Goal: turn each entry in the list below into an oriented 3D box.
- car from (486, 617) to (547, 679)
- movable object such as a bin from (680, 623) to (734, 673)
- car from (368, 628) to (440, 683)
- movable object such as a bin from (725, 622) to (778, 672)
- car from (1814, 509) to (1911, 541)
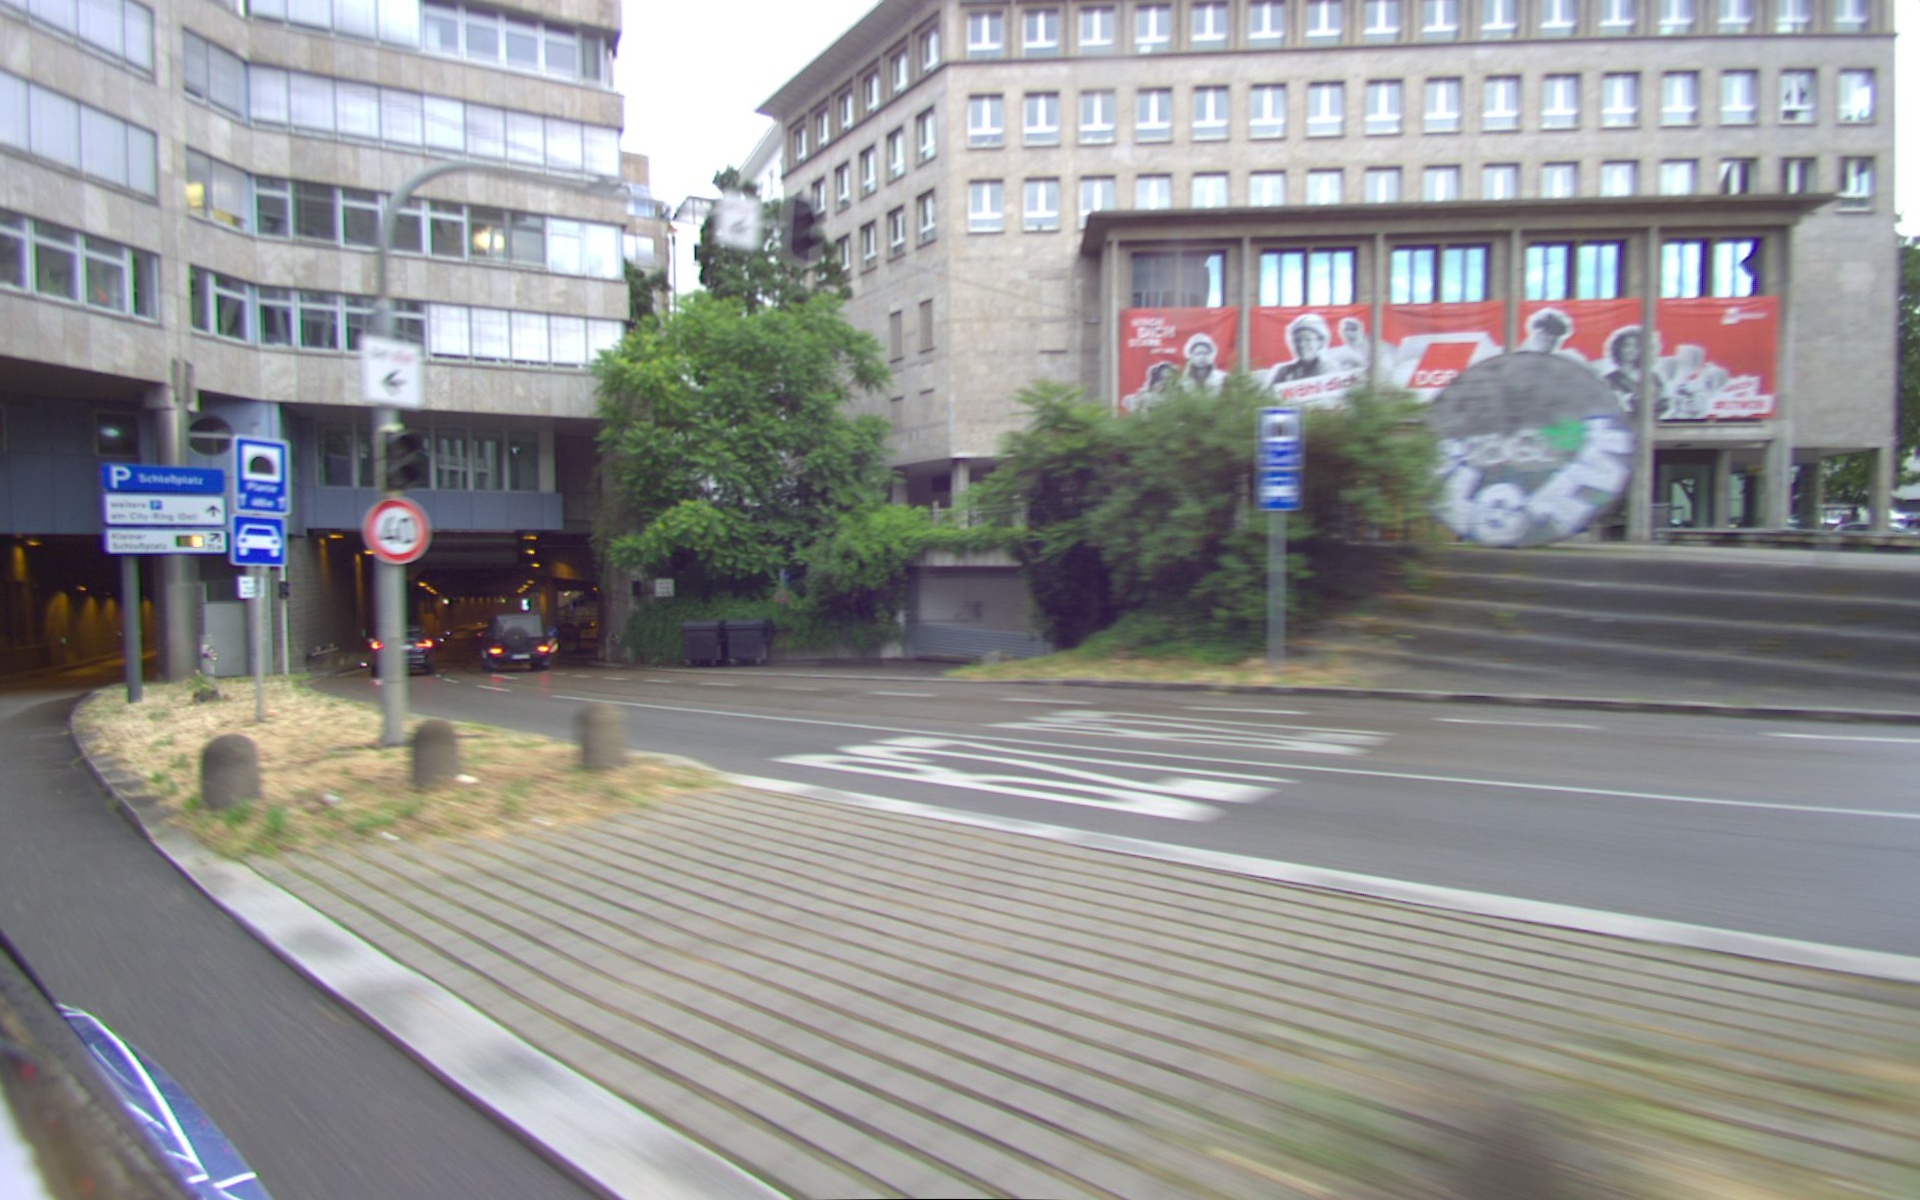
[{"bbox_3d":[-15.372,1.639,34.980,1.811,1.936,4.657,-1,-2,-25],"label":"car"},{"bbox_3d":[-7.816,1.466,31.310,1.322,1.461,1.166,-1,0,3],"label":"movable object such as a bin"},{"bbox_3d":[-18.087,1.789,33.060,1.819,1.600,4.403,-1,-2,-26],"label":"car"},{"bbox_3d":[-6.390,1.424,31.043,1.194,1.461,1.292,-1,0,10],"label":"movable object such as a bin"},{"bbox_3d":[82.582,-6.822,92.763,2.274,2.580,6.314,-2,2,-20],"label":"car"}]
